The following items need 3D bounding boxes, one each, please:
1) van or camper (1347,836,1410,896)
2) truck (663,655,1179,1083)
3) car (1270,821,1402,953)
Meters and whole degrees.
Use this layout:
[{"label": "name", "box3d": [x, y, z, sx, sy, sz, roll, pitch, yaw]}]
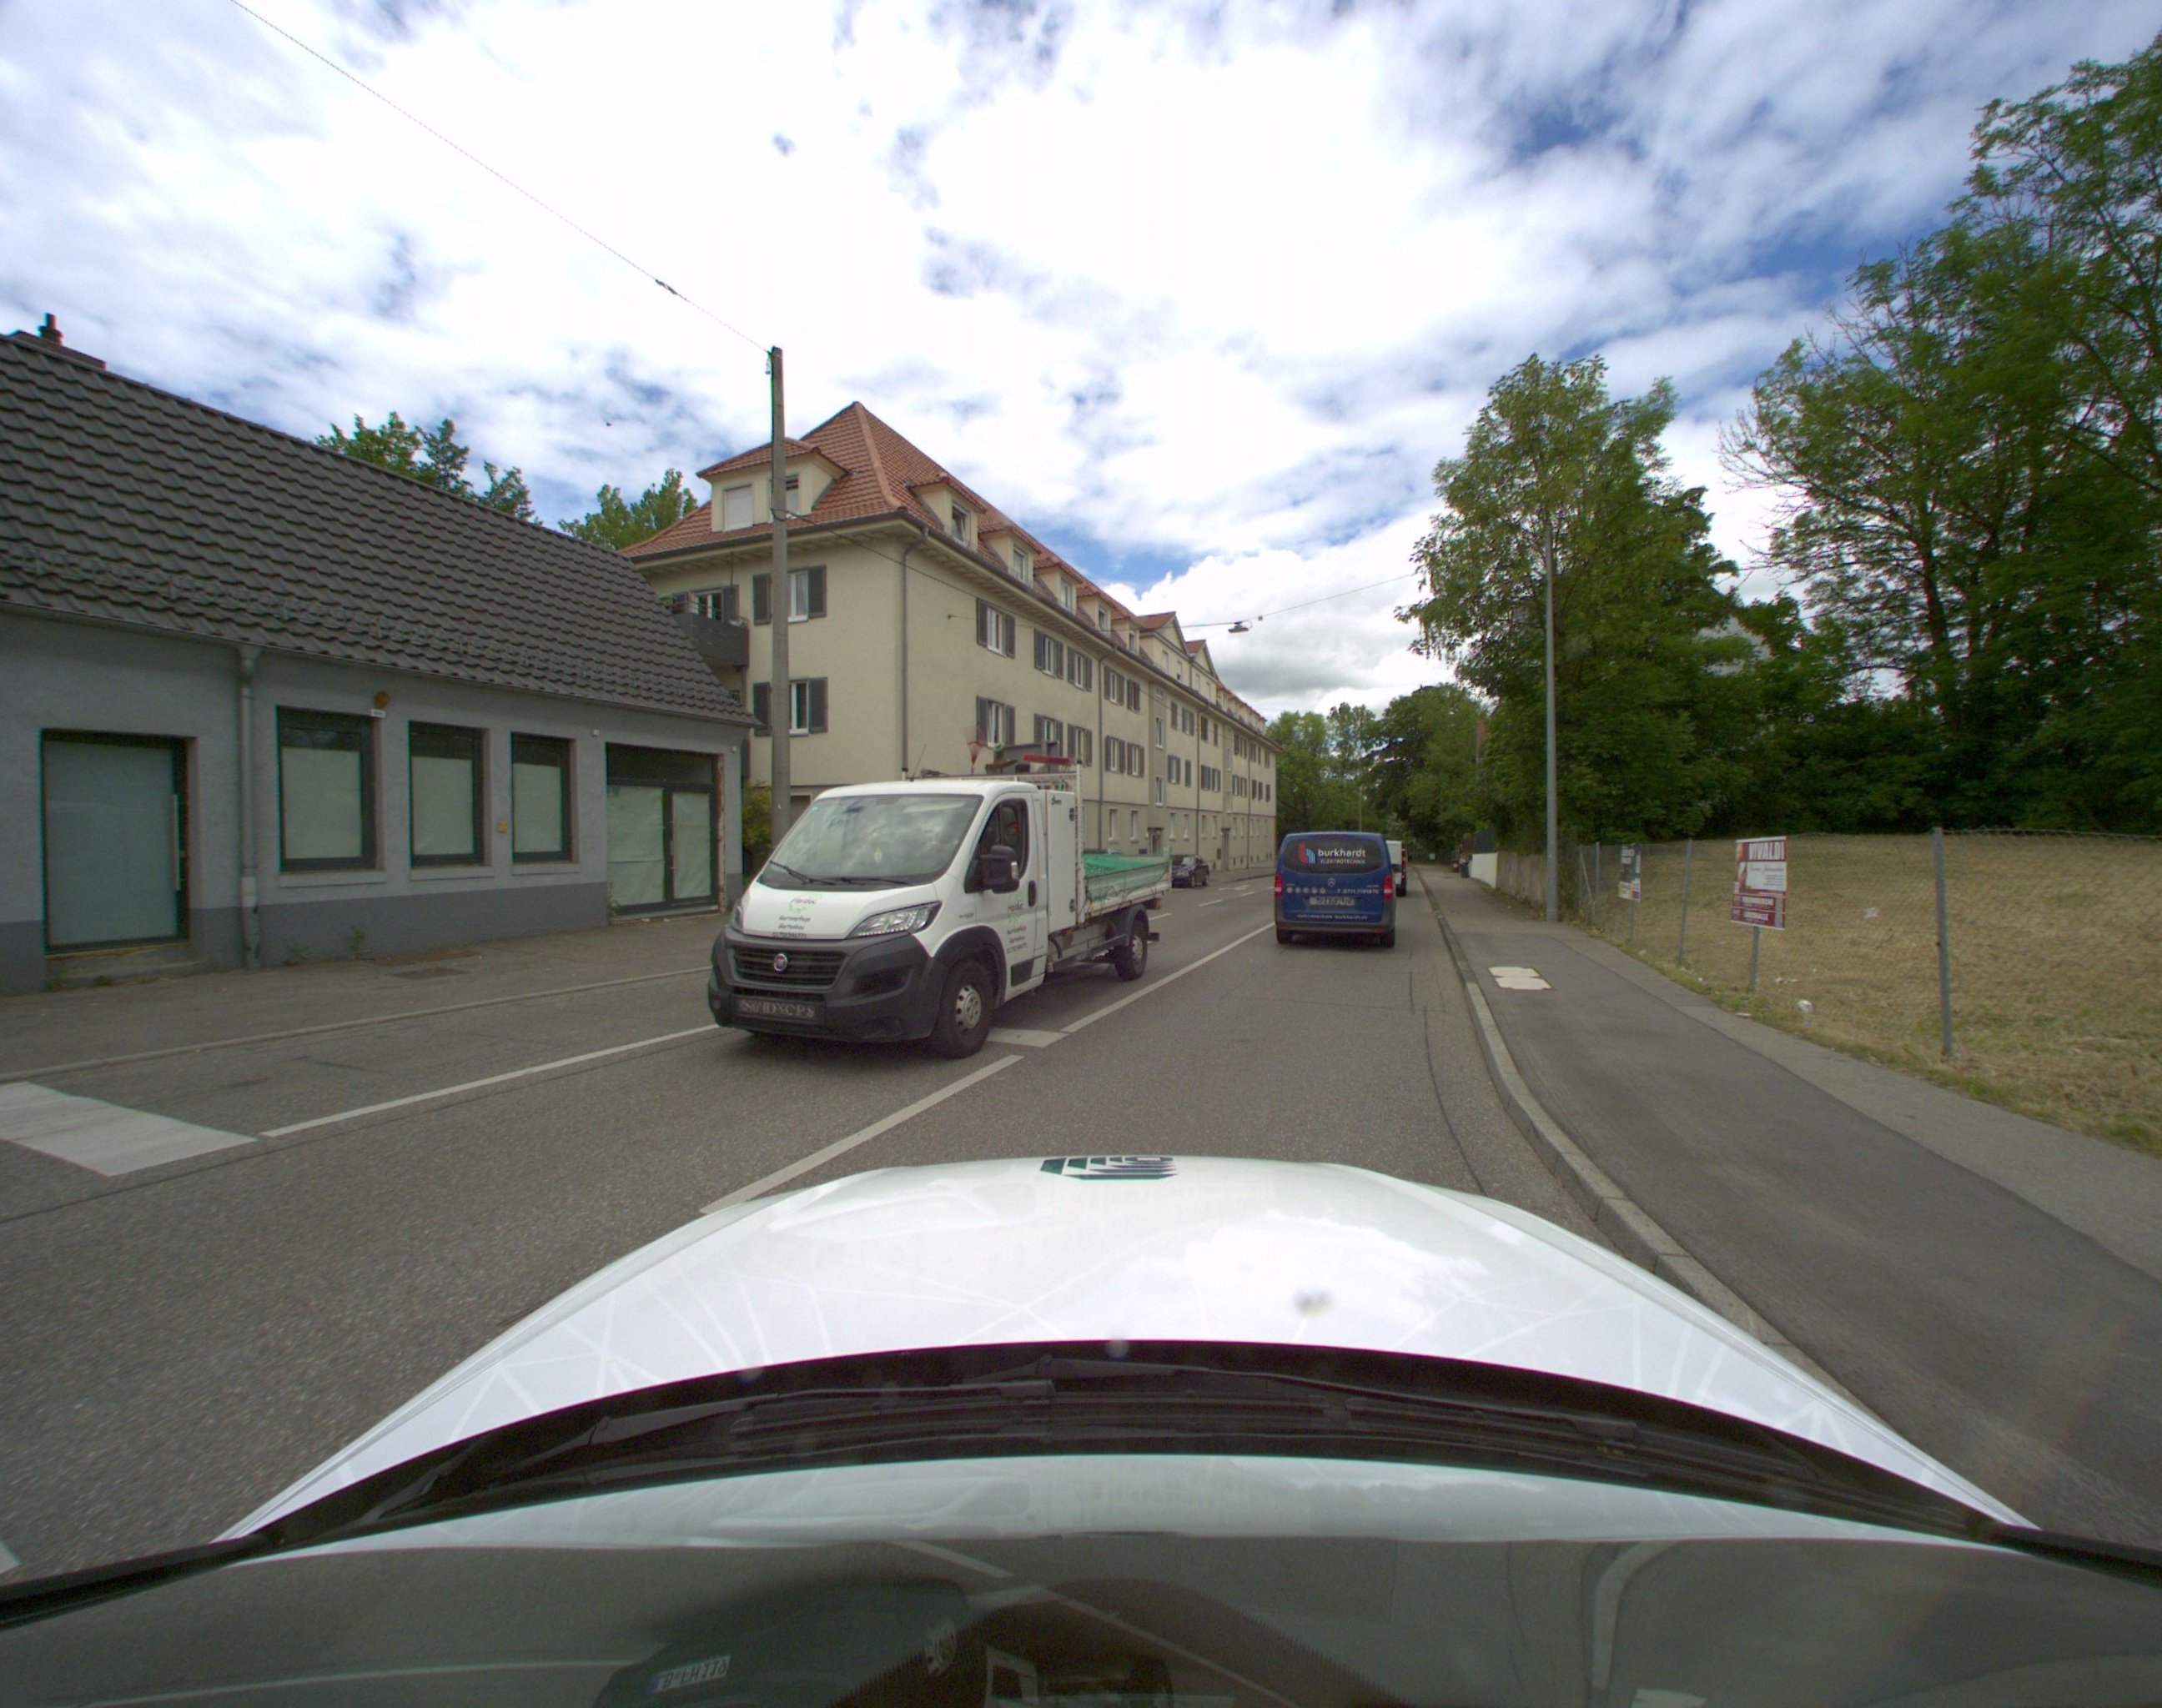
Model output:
[{"label": "van or camper", "box3d": [11.166, 0.414, 30.355, 1.976, 2.013, 5.123, 1, 0, 22]}, {"label": "truck", "box3d": [-0.852, 0.129, 8.479, 1.976, 2.701, 6.442, -2, -1, 23]}, {"label": "car", "box3d": [4.648, 0.449, 14.549, 1.931, 1.965, 4.565, 0, 1, 20]}]
